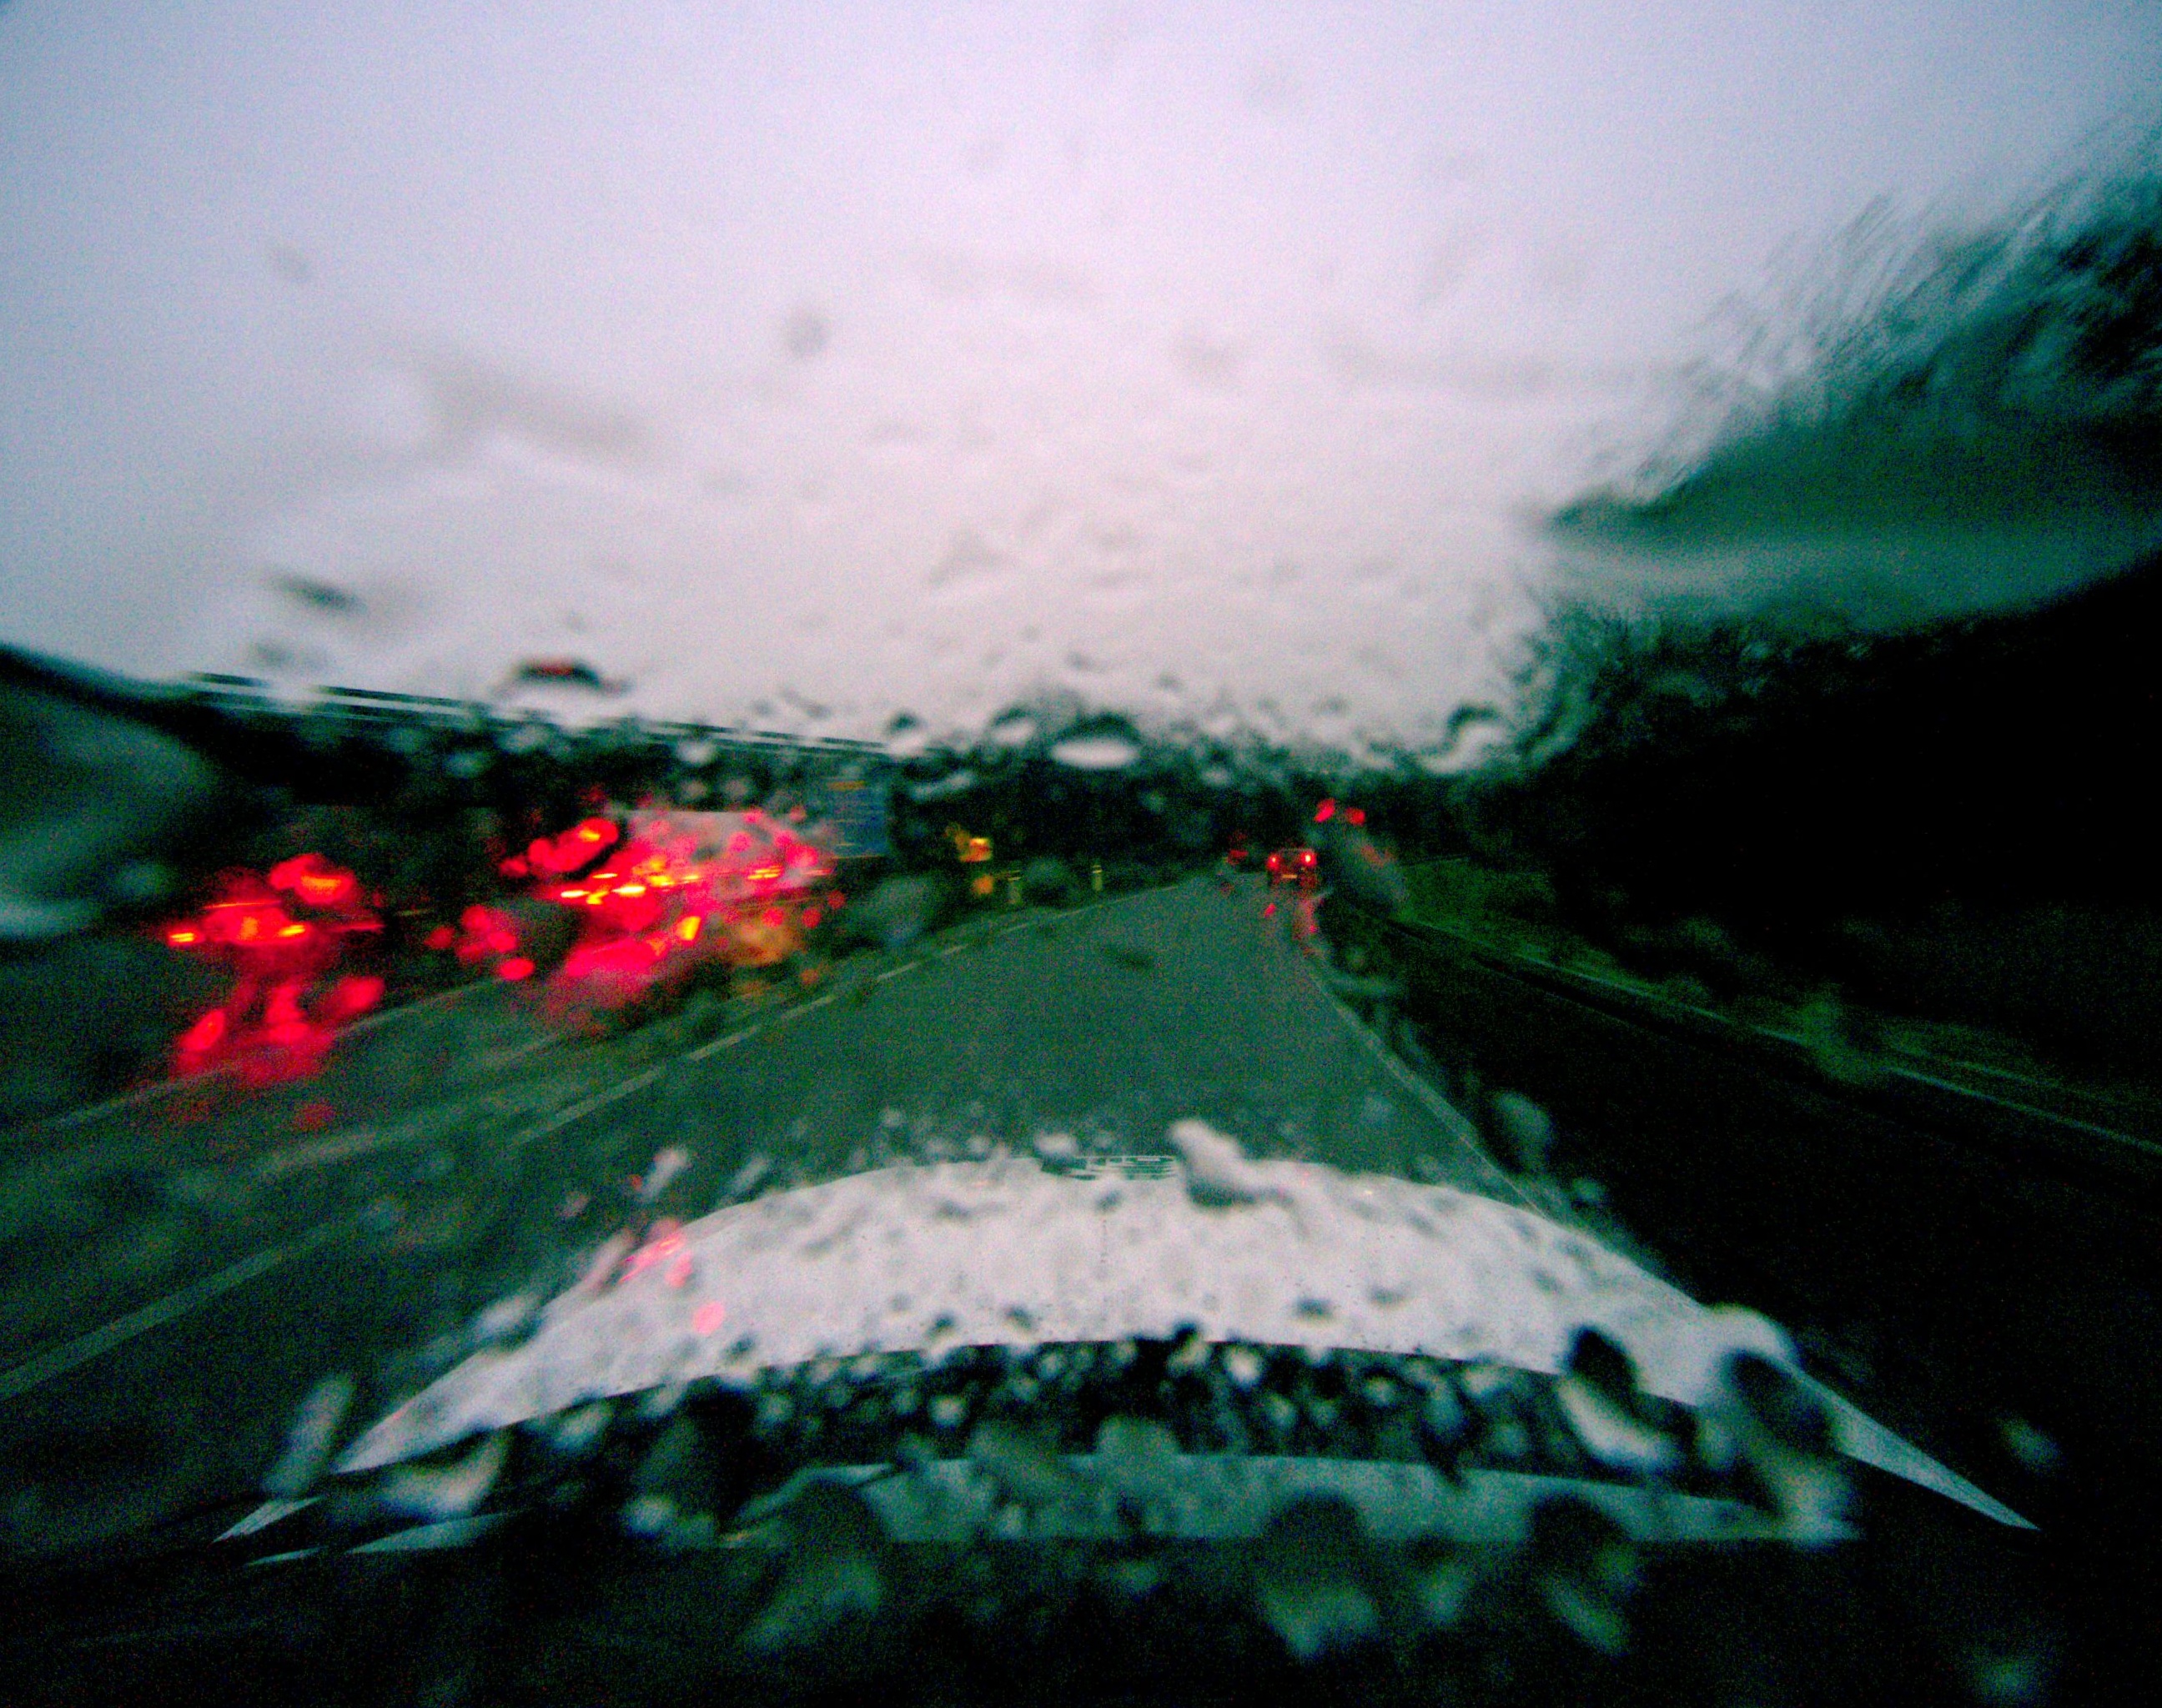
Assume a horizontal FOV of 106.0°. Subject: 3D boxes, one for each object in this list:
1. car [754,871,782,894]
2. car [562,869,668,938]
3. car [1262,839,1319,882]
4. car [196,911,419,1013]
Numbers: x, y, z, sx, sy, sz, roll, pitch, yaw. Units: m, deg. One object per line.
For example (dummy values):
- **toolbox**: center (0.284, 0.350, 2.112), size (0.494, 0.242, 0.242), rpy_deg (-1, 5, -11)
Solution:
- **car**: center (-25.806, 2.294, 67.002), size (1.887, 1.617, 3.843), rpy_deg (-3, 2, -24)
- **car**: center (-13.595, 1.366, 23.998), size (2.002, 1.664, 3.971), rpy_deg (-5, 1, -21)
- **car**: center (7.734, 0.181, 29.868), size (1.718, 1.429, 3.783), rpy_deg (-2, 1, 18)
- **car**: center (-15.451, 2.055, 16.609), size (1.806, 1.468, 4.379), rpy_deg (-3, 0, -23)
